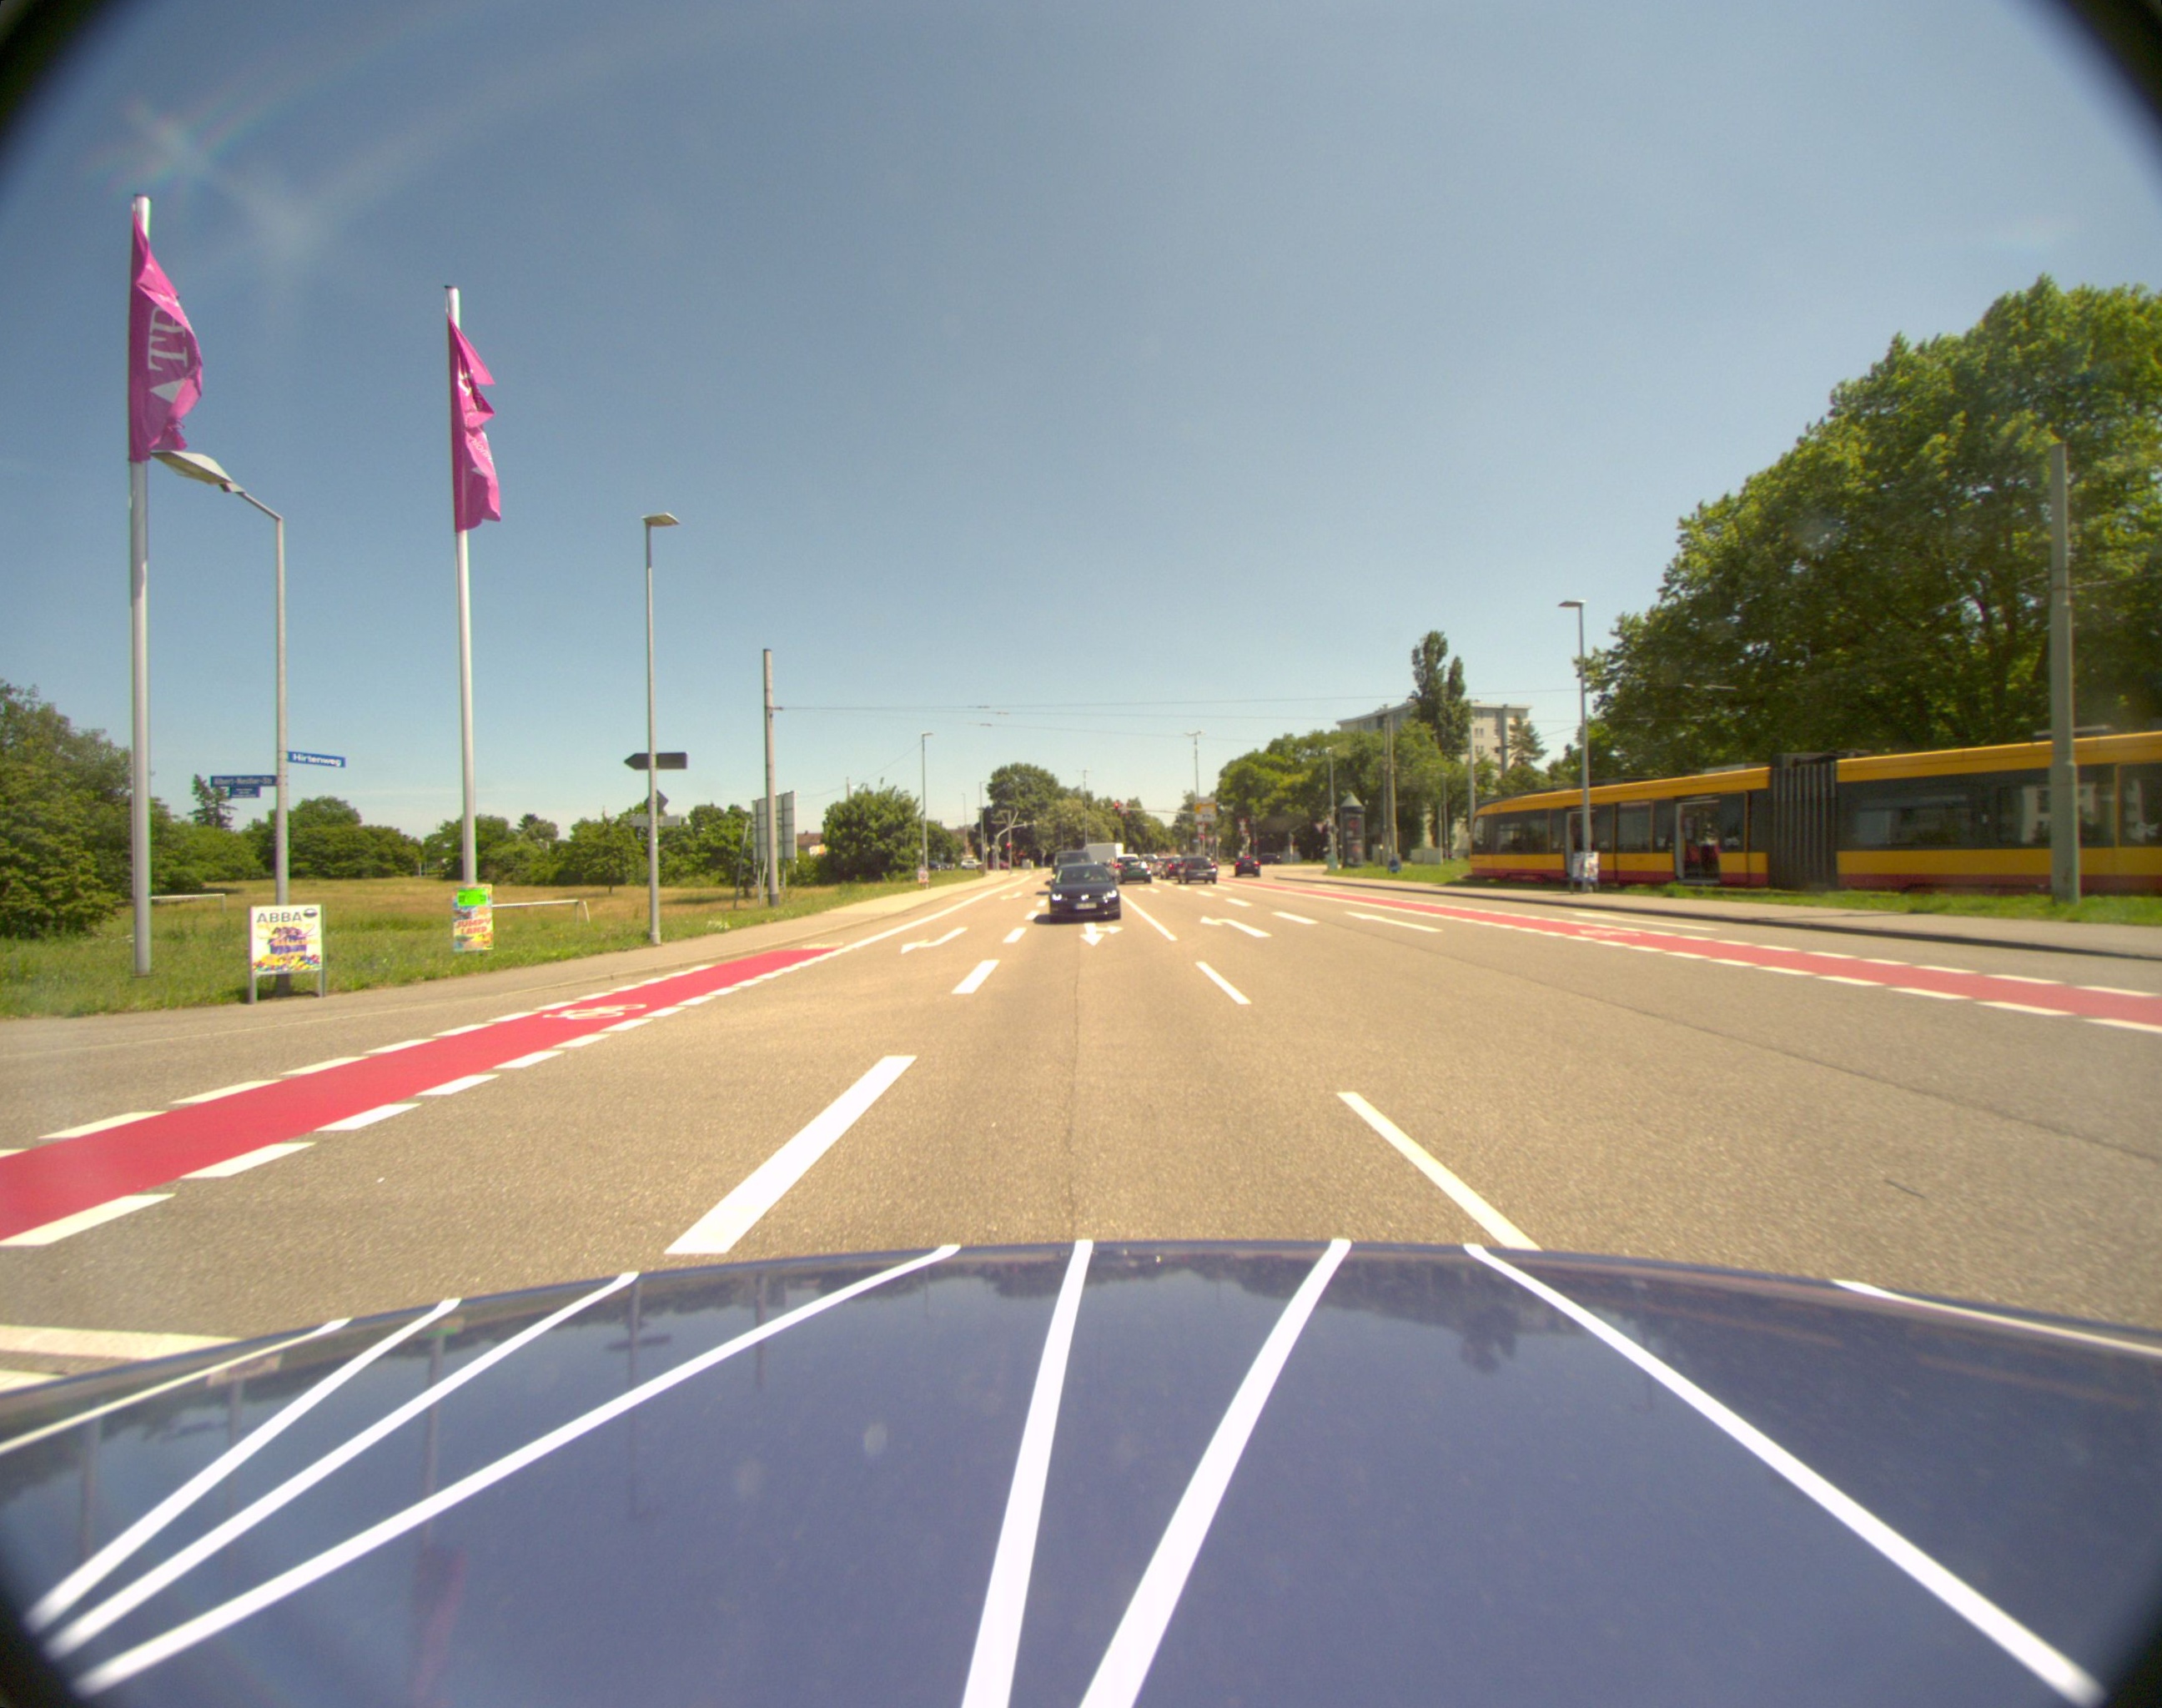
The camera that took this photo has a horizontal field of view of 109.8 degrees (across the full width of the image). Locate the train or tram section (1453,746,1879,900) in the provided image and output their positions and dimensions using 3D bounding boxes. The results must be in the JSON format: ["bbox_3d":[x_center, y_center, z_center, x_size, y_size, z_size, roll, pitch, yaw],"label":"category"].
[{"bbox_3d":[17.548,-0.722,25.075,3.025,3.737,12.986,0,0,-6],"label":"train or tram section"}]

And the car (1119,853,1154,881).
[{"bbox_3d":[3.106,0.709,43.290,1.727,1.454,3.990,-2,0,1],"label":"car"}]

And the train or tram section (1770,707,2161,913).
[{"bbox_3d":[21.025,-0.799,14.274,3.031,3.737,11.589,0,0,-32],"label":"train or tram section"}]

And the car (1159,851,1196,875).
[{"bbox_3d":[6.212,0.569,49.238,1.764,1.448,4.285,-2,0,-1],"label":"car"}]

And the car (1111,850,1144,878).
[{"bbox_3d":[3.038,0.657,50.648,1.816,1.713,4.831,-2,0,0],"label":"car"}]

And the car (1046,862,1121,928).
[{"bbox_3d":[0.118,0.985,20.049,1.708,1.396,4.054,-4,0,2],"label":"car"}]

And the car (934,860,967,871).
[{"bbox_3d":[-18.789,1.641,109.482,4.400,1.566,1.879,-2,-1,31],"label":"car"}]

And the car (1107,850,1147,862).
[{"bbox_3d":[5.591,0.254,91.985,4.400,1.380,1.879,-2,-1,31],"label":"car"}]

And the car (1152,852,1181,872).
[{"bbox_3d":[6.521,0.554,58.466,1.795,1.447,4.412,-1,0,1],"label":"car"}]

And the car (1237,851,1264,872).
[{"bbox_3d":[11.788,0.525,53.002,1.746,1.397,4.445,-1,-1,12],"label":"car"}]

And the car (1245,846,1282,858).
[{"bbox_3d":[22.448,-0.208,93.355,3.990,1.279,1.891,-2,-2,29],"label":"car"}]

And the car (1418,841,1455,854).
[{"bbox_3d":[39.309,-0.733,84.066,3.636,1.279,1.608,-2,-2,29],"label":"car"}]

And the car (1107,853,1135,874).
[{"bbox_3d":[3.014,0.688,57.886,1.772,1.429,3.960,-3,0,-1],"label":"car"}]

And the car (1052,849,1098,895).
[{"bbox_3d":[-0.340,0.783,35.189,1.942,1.919,4.845,-2,0,-2],"label":"car"}]

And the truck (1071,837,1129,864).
[{"bbox_3d":[2.581,-0.432,105.388,7.691,3.511,2.594,-2,-2,31],"label":"truck"}]

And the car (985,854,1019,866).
[{"bbox_3d":[-11.010,0.852,105.240,4.400,1.566,1.879,-2,-1,31],"label":"car"}]

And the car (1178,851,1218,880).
[{"bbox_3d":[6.154,0.569,40.276,1.626,1.447,3.501,0,0,0],"label":"car"}]

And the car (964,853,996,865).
[{"bbox_3d":[-14.845,0.749,111.403,4.400,1.566,1.879,-2,-1,31],"label":"car"}]
